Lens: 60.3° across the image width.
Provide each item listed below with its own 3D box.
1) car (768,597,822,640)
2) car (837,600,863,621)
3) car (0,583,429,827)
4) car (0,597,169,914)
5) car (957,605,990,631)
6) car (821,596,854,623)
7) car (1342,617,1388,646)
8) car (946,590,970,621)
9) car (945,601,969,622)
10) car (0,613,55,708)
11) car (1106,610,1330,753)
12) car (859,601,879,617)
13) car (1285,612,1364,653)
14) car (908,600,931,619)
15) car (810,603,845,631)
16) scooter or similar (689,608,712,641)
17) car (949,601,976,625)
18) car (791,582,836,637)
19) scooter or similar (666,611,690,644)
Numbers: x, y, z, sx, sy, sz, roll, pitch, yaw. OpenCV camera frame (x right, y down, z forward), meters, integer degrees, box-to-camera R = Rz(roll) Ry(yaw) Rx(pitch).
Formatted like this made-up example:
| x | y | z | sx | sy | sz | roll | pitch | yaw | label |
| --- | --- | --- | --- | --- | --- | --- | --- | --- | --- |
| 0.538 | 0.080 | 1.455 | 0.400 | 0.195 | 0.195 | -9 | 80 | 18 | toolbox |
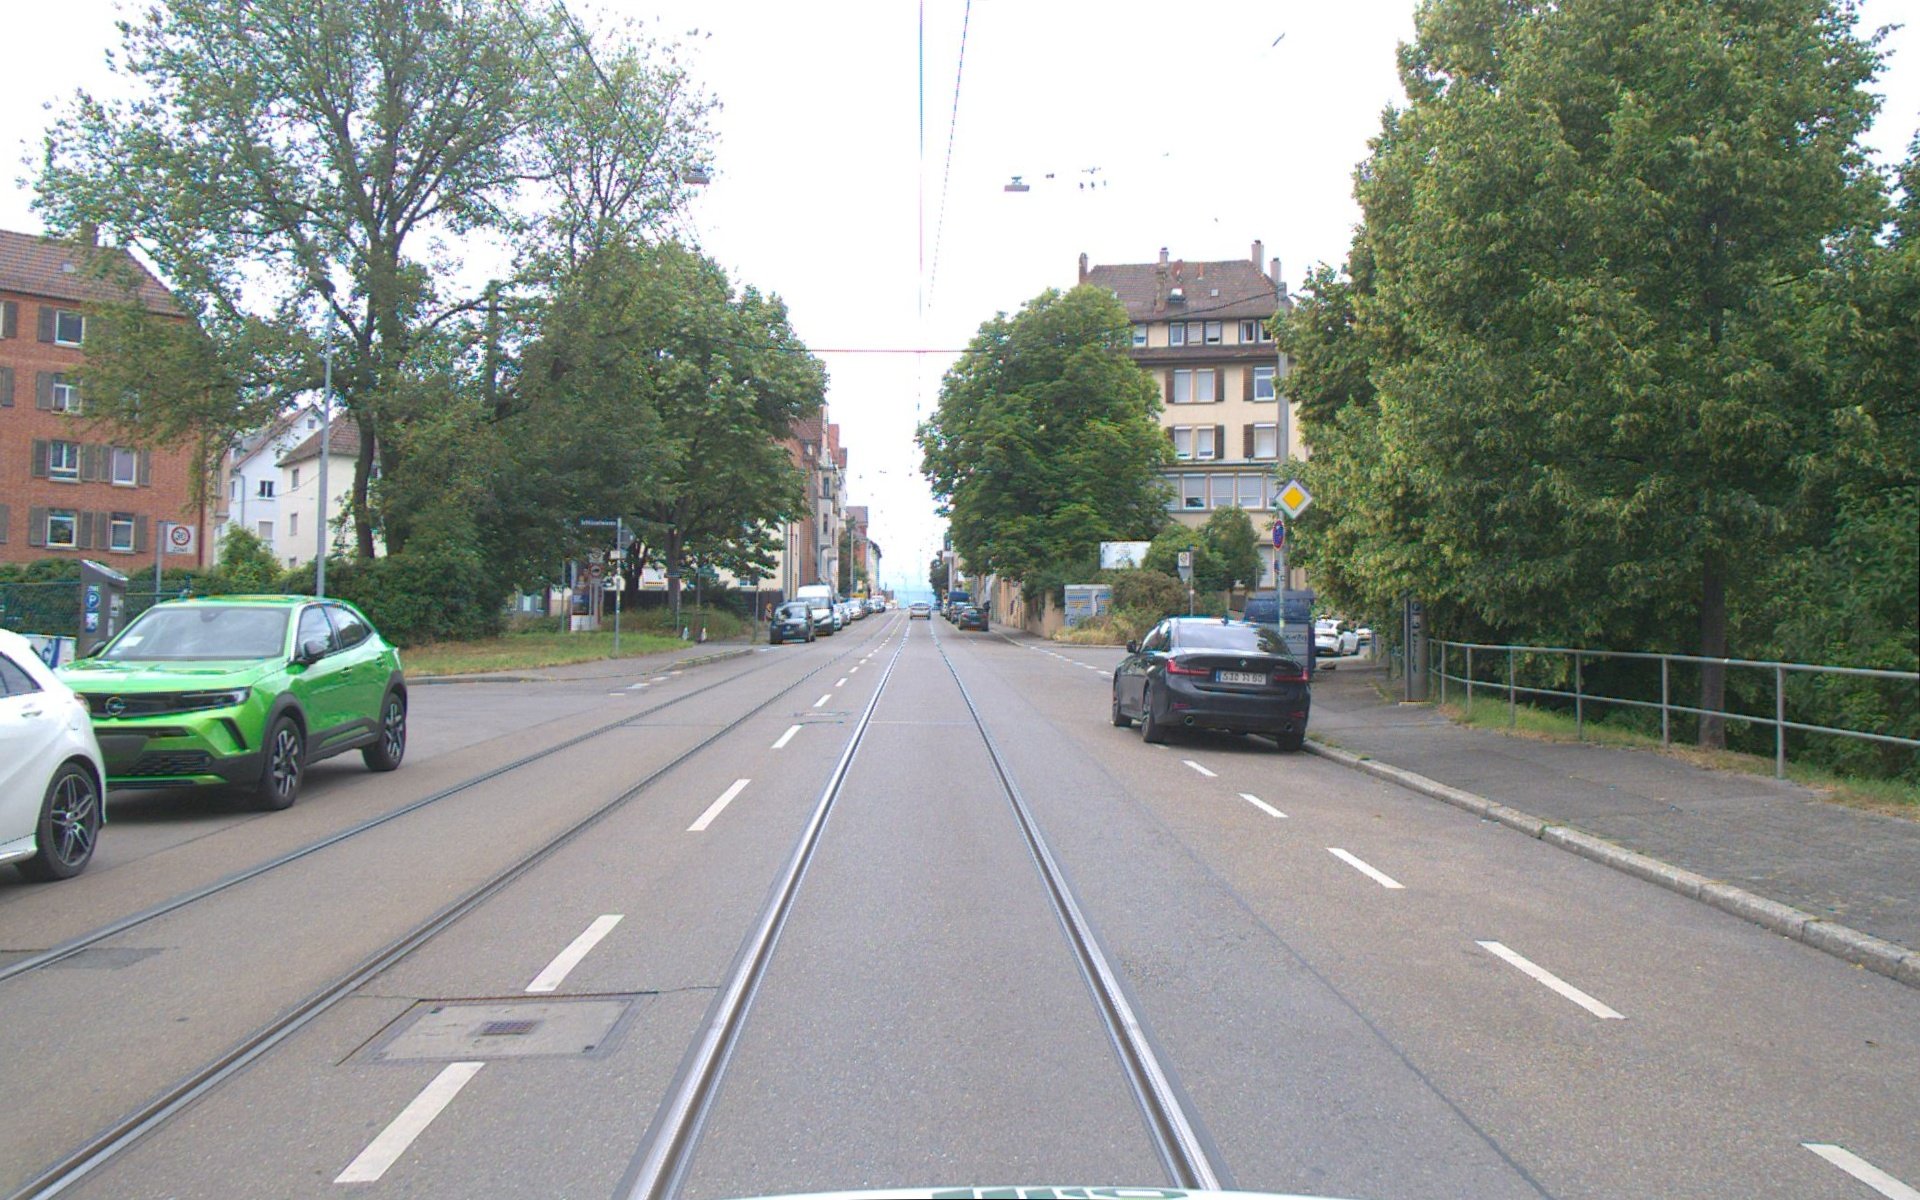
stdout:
| x | y | z | sx | sy | sz | roll | pitch | yaw | label |
| --- | --- | --- | --- | --- | --- | --- | --- | --- | --- |
| -7.330 | 0.821 | 73.773 | 1.953 | 1.840 | 3.999 | 1 | -1 | 0 | car |
| -8.784 | 0.873 | 132.067 | 1.885 | 1.629 | 3.999 | 1 | -1 | -1 | car |
| -5.689 | 0.700 | 13.091 | 1.688 | 1.607 | 4.179 | -1 | 0 | -1 | car |
| -5.614 | 0.770 | 7.554 | 1.847 | 1.553 | 4.662 | -1 | 0 | -2 | car |
| 0.837 | 1.105 | 103.048 | 1.953 | 1.557 | 4.311 | 1 | -1 | 0 | car |
| -8.516 | 0.676 | 115.246 | 1.953 | 1.843 | 4.311 | 1 | -1 | 0 | car |
| 23.721 | 1.845 | 96.712 | 1.953 | 1.646 | 3.998 | 1 | -1 | 24 | car |
| -0.187 | 0.490 | 141.697 | 1.953 | 2.619 | 4.703 | 0 | -1 | -1 | car |
| -0.270 | 0.930 | 136.185 | 1.953 | 1.680 | 3.999 | 0 | -1 | -1 | car |
| -16.372 | 0.901 | 25.917 | 3.908 | 1.443 | 1.889 | 1 | -1 | 25 | car |
| 2.980 | 0.899 | 20.157 | 1.791 | 1.455 | 4.845 | 2 | -1 | -2 | car |
| -9.410 | 0.928 | 171.583 | 1.953 | 1.629 | 3.998 | 1 | -1 | -2 | car |
| 14.252 | 1.270 | 64.536 | 1.955 | 1.505 | 4.458 | 1 | -1 | 27 | car |
| -3.471 | 0.814 | 142.466 | 1.953 | 1.525 | 4.310 | 1 | -1 | -2 | car |
| -7.863 | 1.032 | 98.566 | 1.954 | 1.628 | 4.309 | 1 | -1 | -4 | car |
| -10.799 | 1.012 | 68.817 | 0.677 | 1.362 | 1.638 | 1 | -1 | 0 | scooter or similar |
| 0.177 | 1.008 | 124.374 | 1.953 | 1.747 | 3.999 | 0 | -1 | -1 | car |
| -7.759 | 0.528 | 88.259 | 2.186 | 2.813 | 5.795 | 1 | -1 | -4 | car |
| -11.736 | 1.150 | 68.890 | 0.677 | 1.362 | 1.638 | 1 | -1 | 0 | scooter or similar |
